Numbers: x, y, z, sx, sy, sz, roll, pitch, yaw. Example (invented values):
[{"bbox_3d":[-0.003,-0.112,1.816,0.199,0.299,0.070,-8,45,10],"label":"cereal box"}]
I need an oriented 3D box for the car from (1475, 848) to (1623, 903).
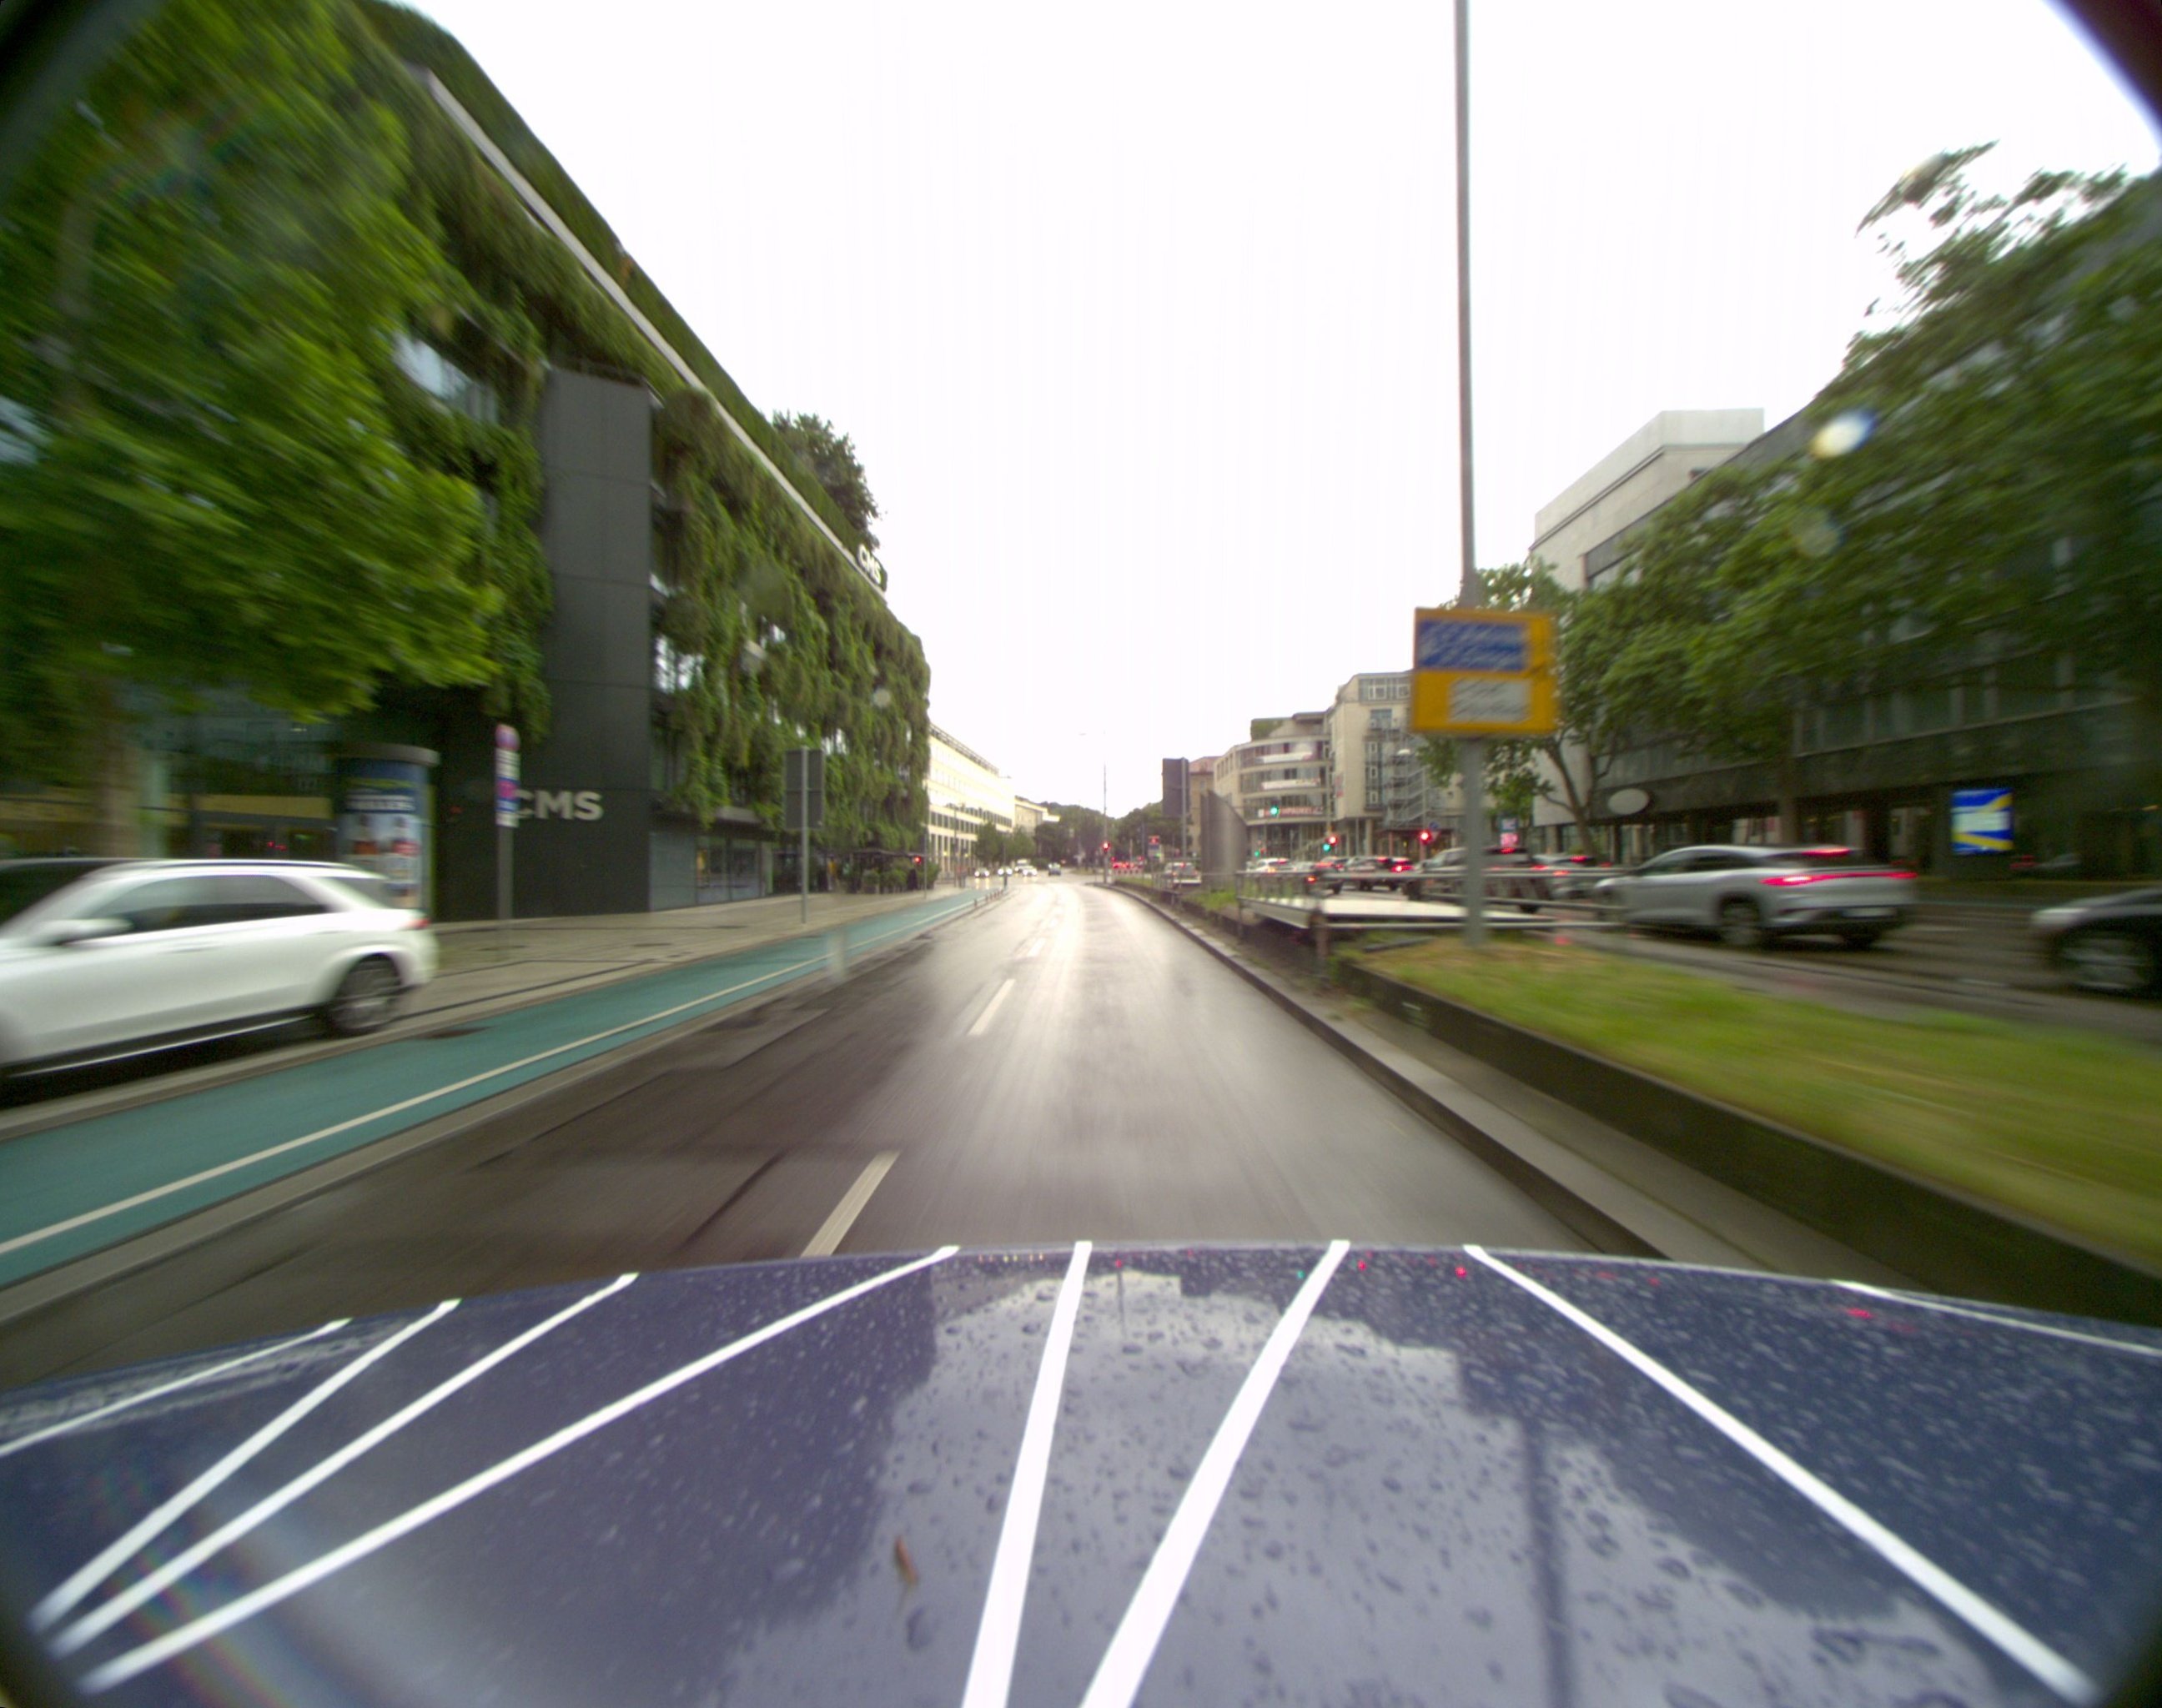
[{"bbox_3d":[14.142,0.622,23.314,1.723,1.482,4.570,-1,0,1],"label":"car"}]

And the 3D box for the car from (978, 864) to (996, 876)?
[{"bbox_3d":[-13.062,2.244,105.920,1.739,1.543,4.671,-1,0,1],"label":"car"}]

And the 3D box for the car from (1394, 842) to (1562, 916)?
[{"bbox_3d":[10.607,0.624,20.835,1.840,1.756,5.109,-1,0,-1],"label":"car"}]

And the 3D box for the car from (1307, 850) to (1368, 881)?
[{"bbox_3d":[13.700,0.592,40.832,1.758,1.556,3.999,-2,0,-2],"label":"car"}]

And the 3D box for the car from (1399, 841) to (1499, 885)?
[{"bbox_3d":[14.089,0.327,29.336,1.758,1.556,3.999,-2,0,-2],"label":"car"}]

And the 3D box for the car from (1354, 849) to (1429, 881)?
[{"bbox_3d":[16.940,0.558,41.686,1.999,1.595,4.586,-2,0,-3],"label":"car"}]

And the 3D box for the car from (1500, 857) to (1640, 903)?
[{"bbox_3d":[17.112,0.938,26.931,1.896,1.437,4.589,-1,-2,-1],"label":"car"}]

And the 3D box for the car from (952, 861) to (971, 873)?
[{"bbox_3d":[-16.244,1.703,103.344,1.739,1.543,4.671,-1,0,1],"label":"car"}]

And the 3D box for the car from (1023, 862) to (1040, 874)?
[{"bbox_3d":[-7.029,1.954,108.256,1.978,1.543,4.671,-1,0,1],"label":"car"}]

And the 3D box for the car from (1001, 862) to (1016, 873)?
[{"bbox_3d":[-10.890,1.997,114.182,1.739,1.543,4.671,-1,0,1],"label":"car"}]

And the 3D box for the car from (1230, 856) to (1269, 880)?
[{"bbox_3d":[10.639,0.879,48.236,1.721,1.467,3.431,-1,0,1],"label":"car"}]

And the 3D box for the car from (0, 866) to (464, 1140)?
[{"bbox_3d":[-8.193,1.034,6.287,1.847,1.827,5.095,0,0,3],"label":"car"}]

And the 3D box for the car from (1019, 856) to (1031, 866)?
[{"bbox_3d":[-11.176,1.378,152.841,1.998,2.002,4.000,-1,0,1],"label":"car"}]

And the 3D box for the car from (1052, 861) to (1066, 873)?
[{"bbox_3d":[-3.161,1.790,107.604,1.740,1.543,4.669,-1,0,-4],"label":"car"}]

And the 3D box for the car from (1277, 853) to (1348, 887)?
[{"bbox_3d":[10.673,0.714,35.455,1.848,1.442,4.917,-2,0,1],"label":"car"}]

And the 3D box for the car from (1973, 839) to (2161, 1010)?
[{"bbox_3d":[10.747,0.616,6.089,1.918,1.543,4.542,-1,0,2],"label":"car"}]

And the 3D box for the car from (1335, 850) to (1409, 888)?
[{"bbox_3d":[13.838,0.693,36.370,1.848,1.655,4.412,-1,0,1],"label":"car"}]

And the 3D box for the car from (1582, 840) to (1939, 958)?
[{"bbox_3d":[10.870,0.635,12.795,1.739,1.564,4.832,-1,0,1],"label":"car"}]

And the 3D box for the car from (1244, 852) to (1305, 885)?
[{"bbox_3d":[10.561,0.762,41.841,1.882,1.675,4.798,-1,0,-3],"label":"car"}]

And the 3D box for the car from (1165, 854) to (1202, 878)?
[{"bbox_3d":[6.645,0.772,49.496,1.848,1.473,4.164,-1,0,1],"label":"car"}]

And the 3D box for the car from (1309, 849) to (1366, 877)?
[{"bbox_3d":[16.333,0.542,48.605,1.762,1.608,4.660,-2,0,-4],"label":"car"}]

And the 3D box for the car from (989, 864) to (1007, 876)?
[{"bbox_3d":[-11.236,2.188,102.955,1.739,1.543,4.671,-1,0,1],"label":"car"}]

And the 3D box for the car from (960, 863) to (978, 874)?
[{"bbox_3d":[-16.404,2.126,111.503,1.739,1.543,4.671,-1,0,1],"label":"car"}]
